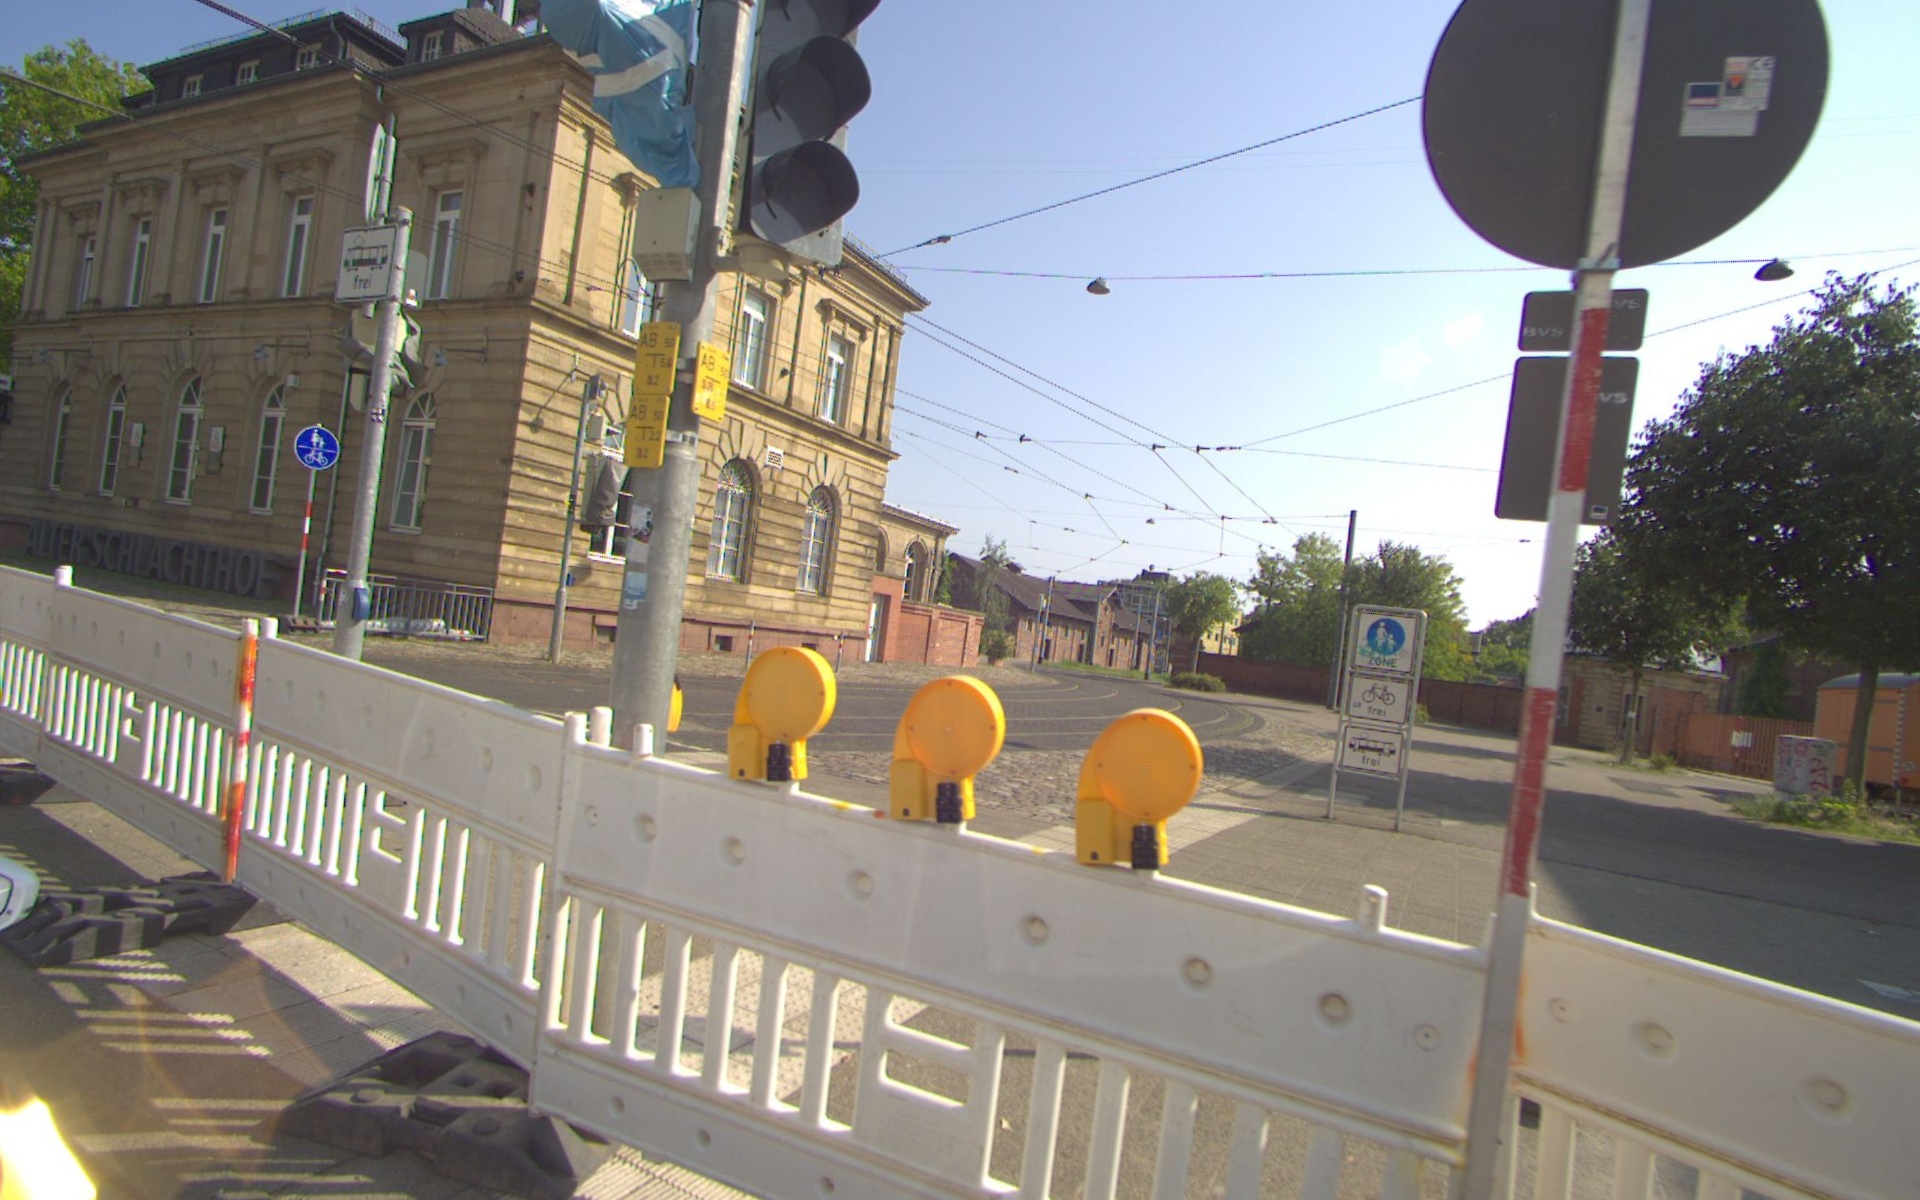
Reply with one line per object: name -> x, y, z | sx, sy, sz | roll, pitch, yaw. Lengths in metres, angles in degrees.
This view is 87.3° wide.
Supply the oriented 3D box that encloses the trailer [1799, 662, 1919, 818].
trailer -> 20.827, 3.045, 21.885 | 2.509, 3.104, 4.002 | 5, -2, 19
